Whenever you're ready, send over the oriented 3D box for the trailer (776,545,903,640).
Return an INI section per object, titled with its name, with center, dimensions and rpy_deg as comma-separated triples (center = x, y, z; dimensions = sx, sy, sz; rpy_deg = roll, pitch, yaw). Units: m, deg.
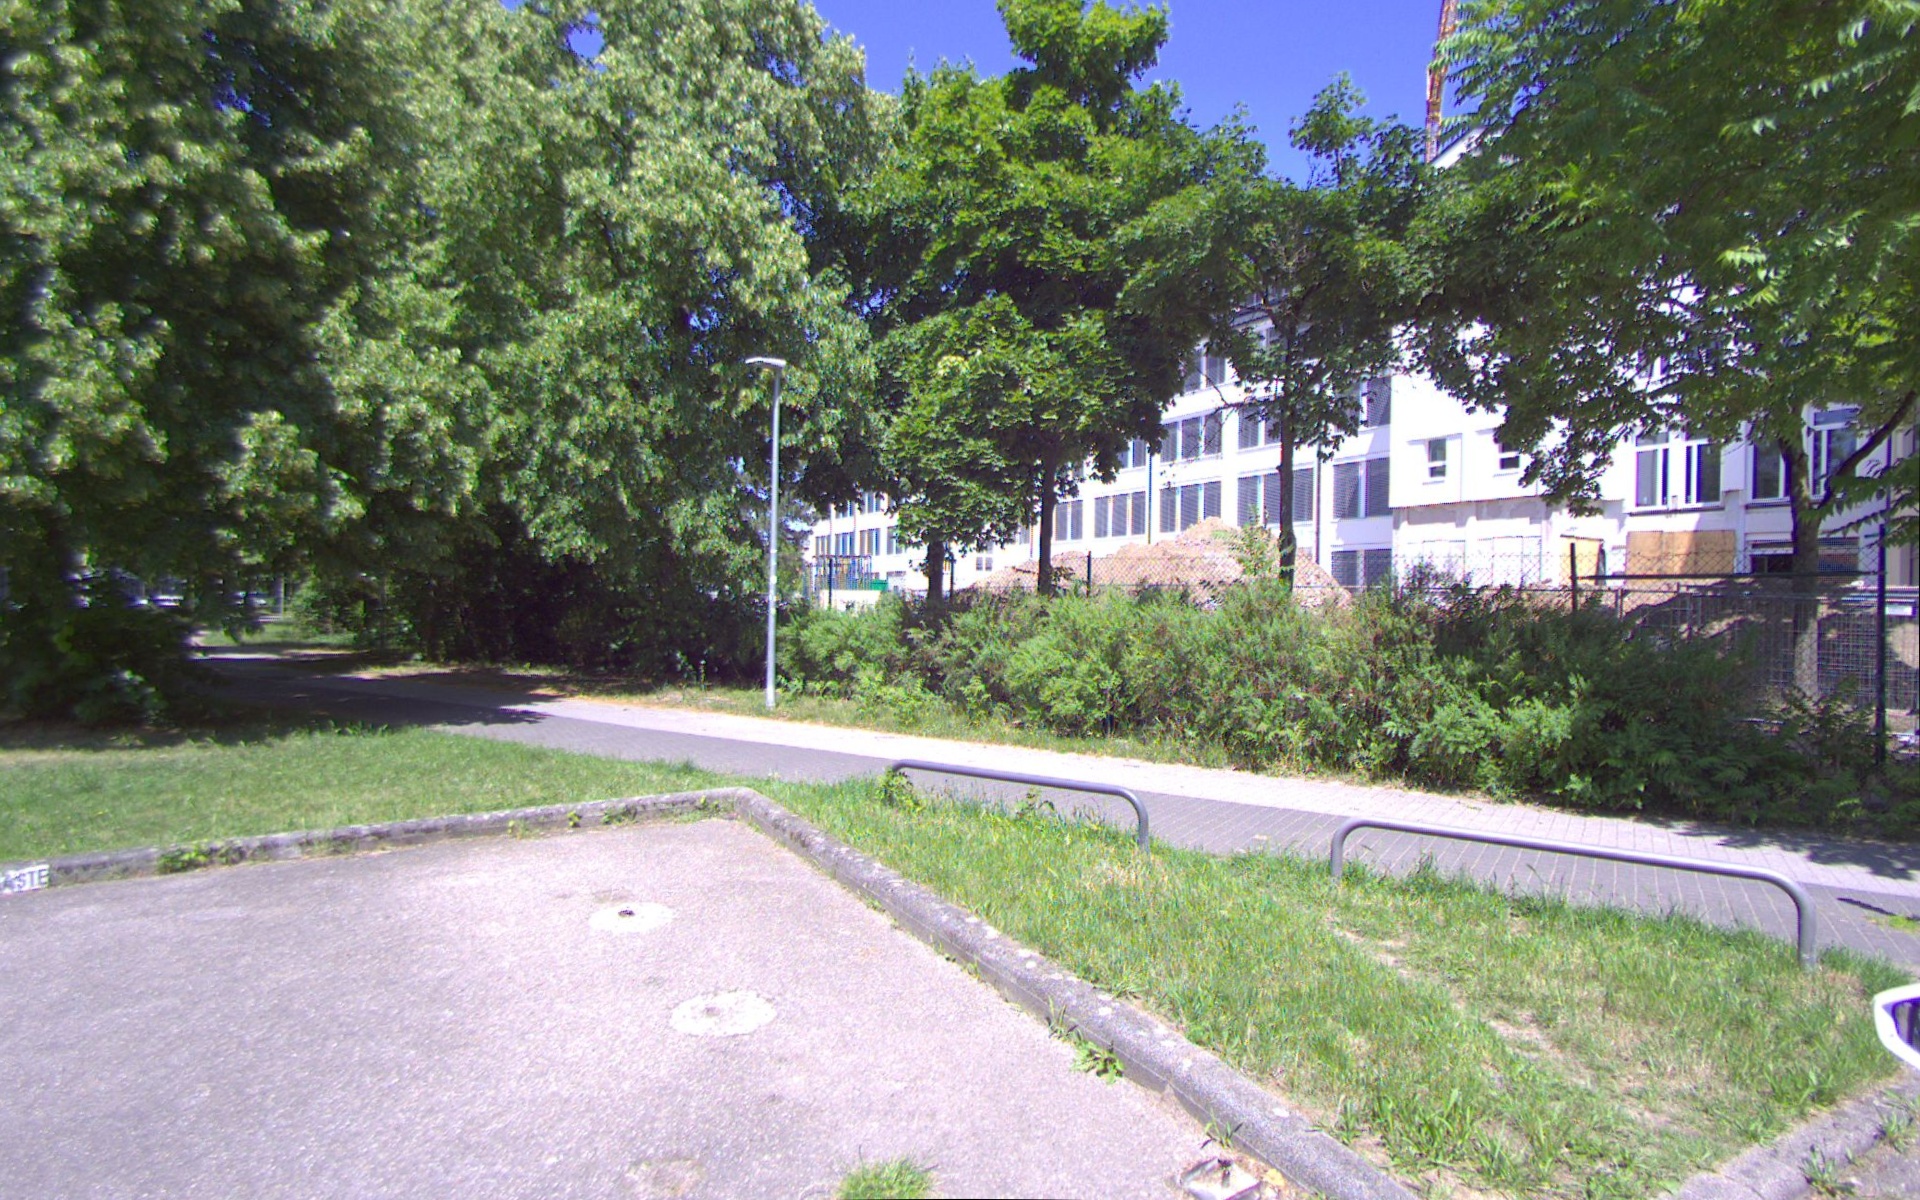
[trailer]
center = -5.246, -0.277, 41.967
dimensions = 2.998, 3.466, 8.725
rpy_deg = 2, 0, -22
